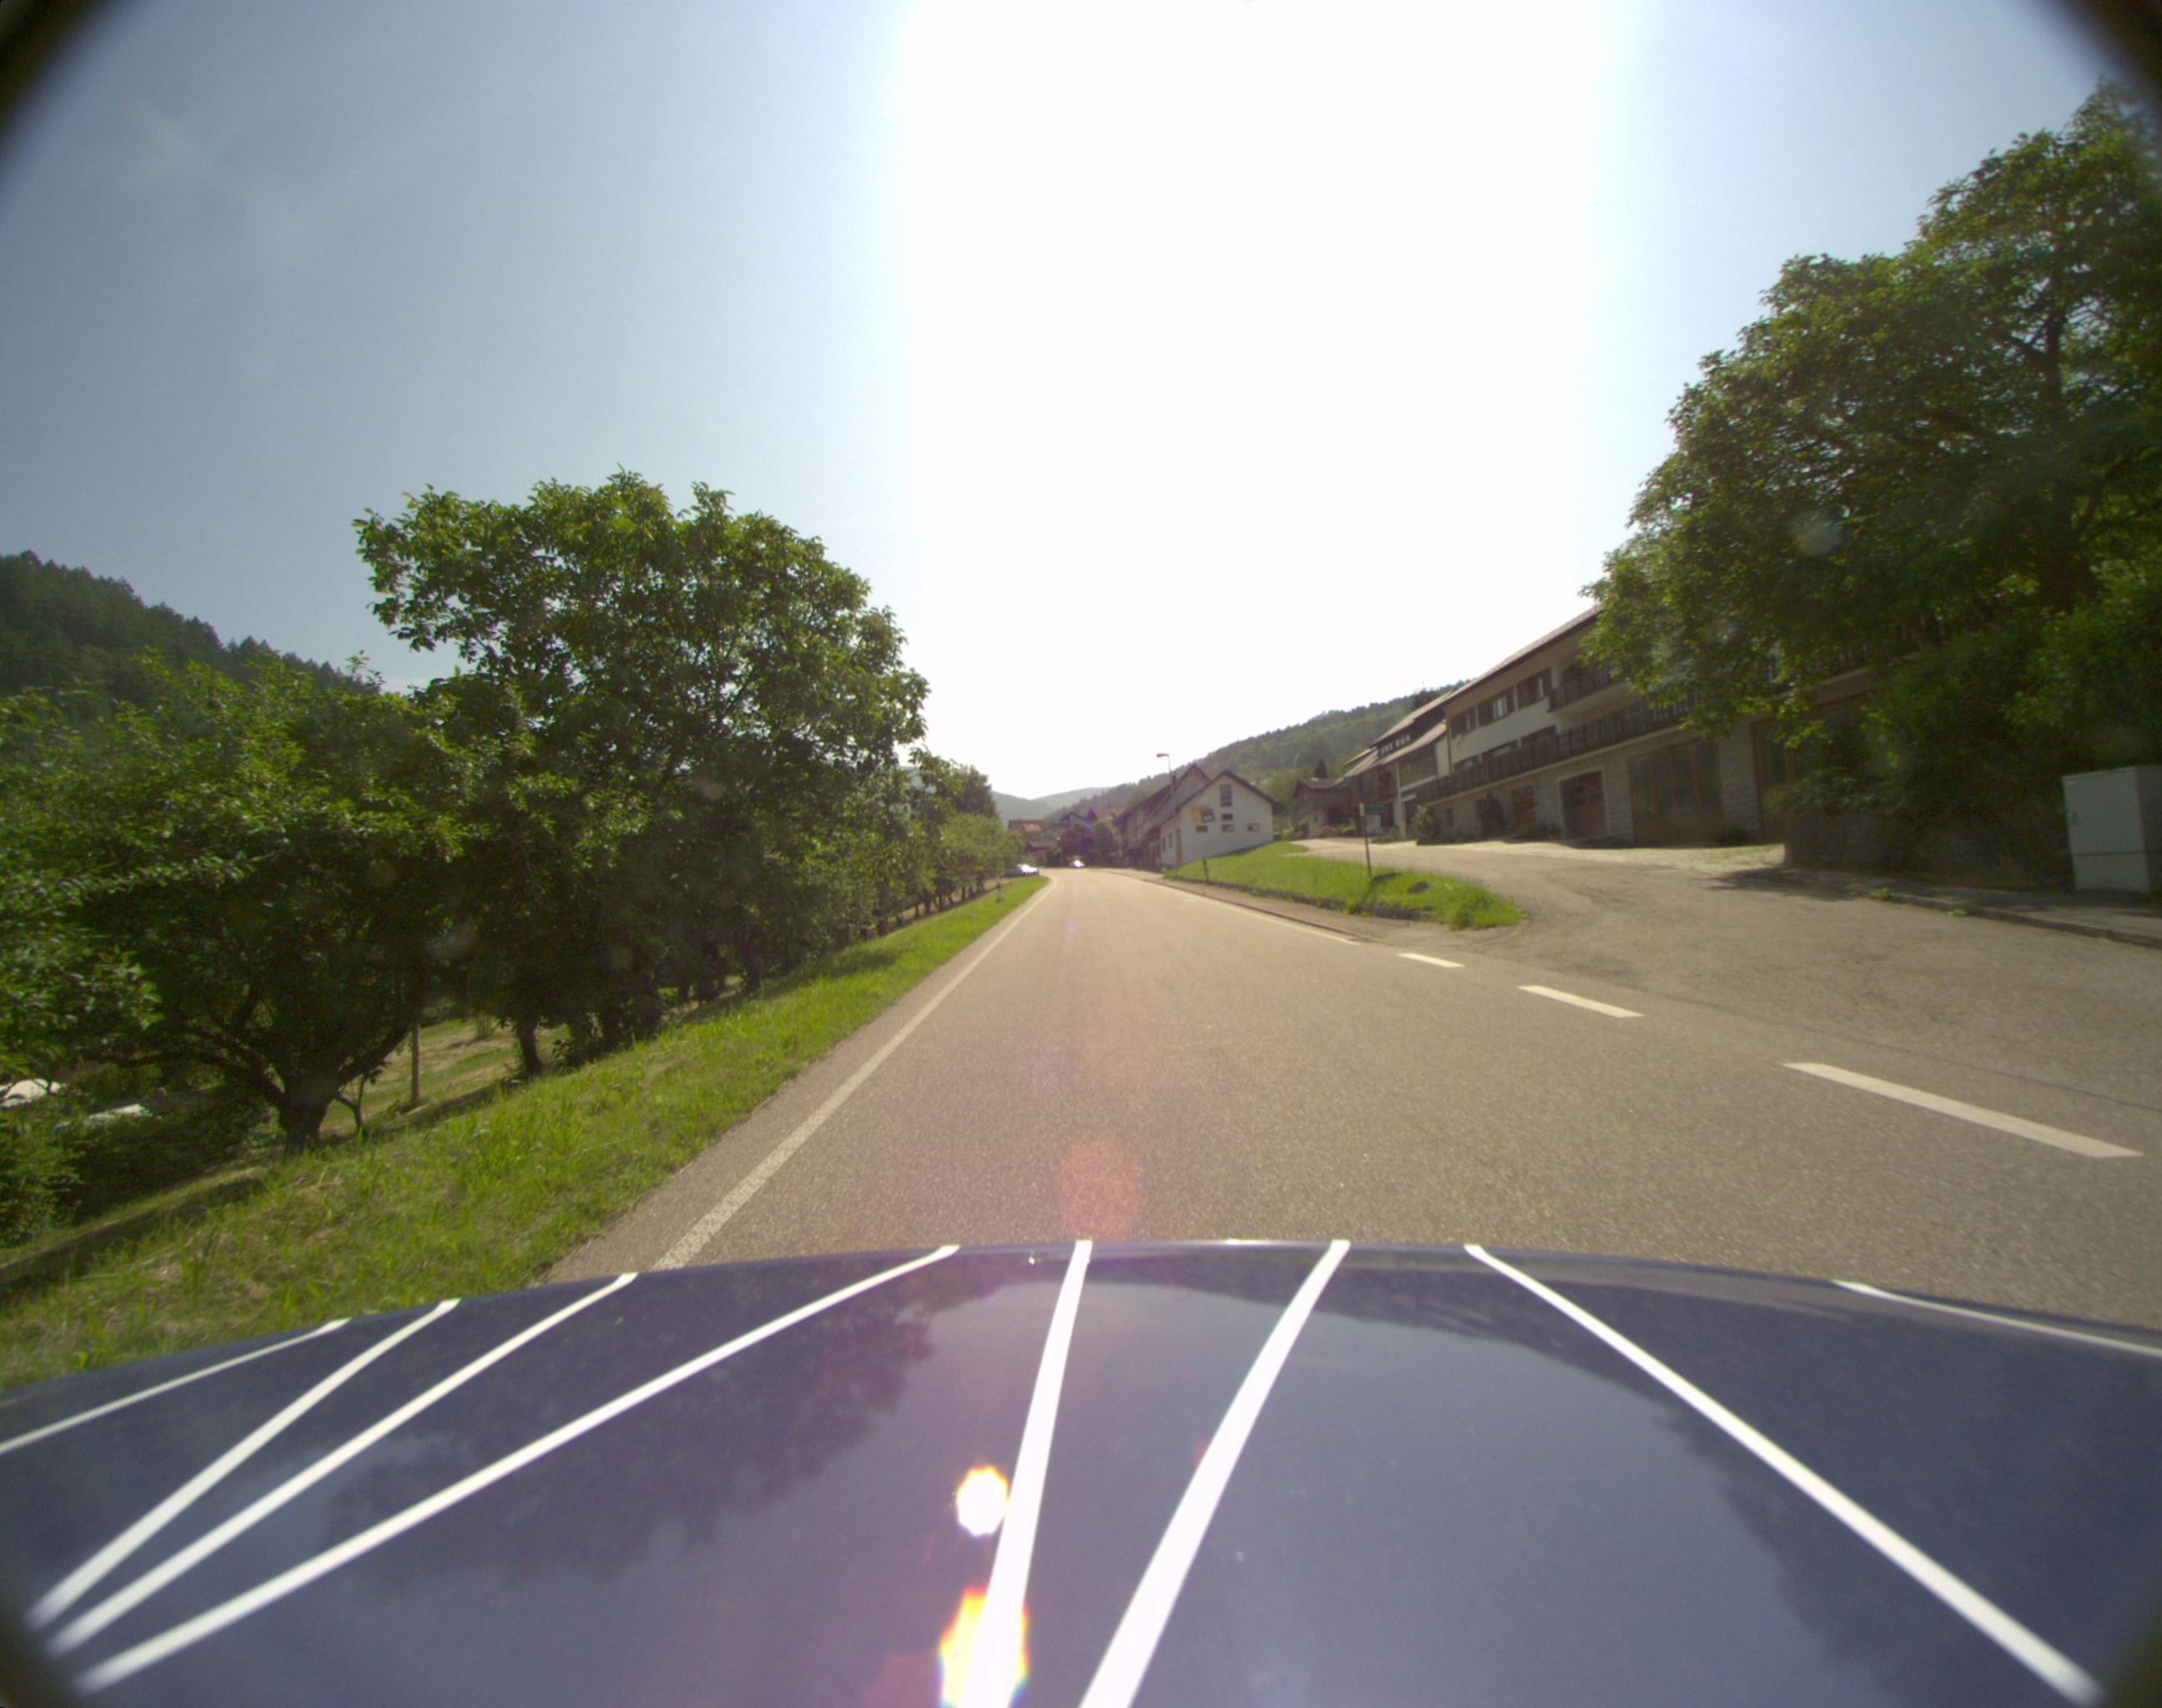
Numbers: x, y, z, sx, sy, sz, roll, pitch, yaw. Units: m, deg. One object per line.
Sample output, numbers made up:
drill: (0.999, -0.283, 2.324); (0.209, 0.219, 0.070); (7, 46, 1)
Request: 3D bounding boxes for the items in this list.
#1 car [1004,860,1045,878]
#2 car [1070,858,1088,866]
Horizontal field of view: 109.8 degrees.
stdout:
car: (-6.214, 1.671, 83.392); (4.451, 1.561, 1.909); (-6, 0, 45)
car: (-0.387, 1.427, 132.269); (1.789, 1.331, 4.689); (-2, 0, -19)
